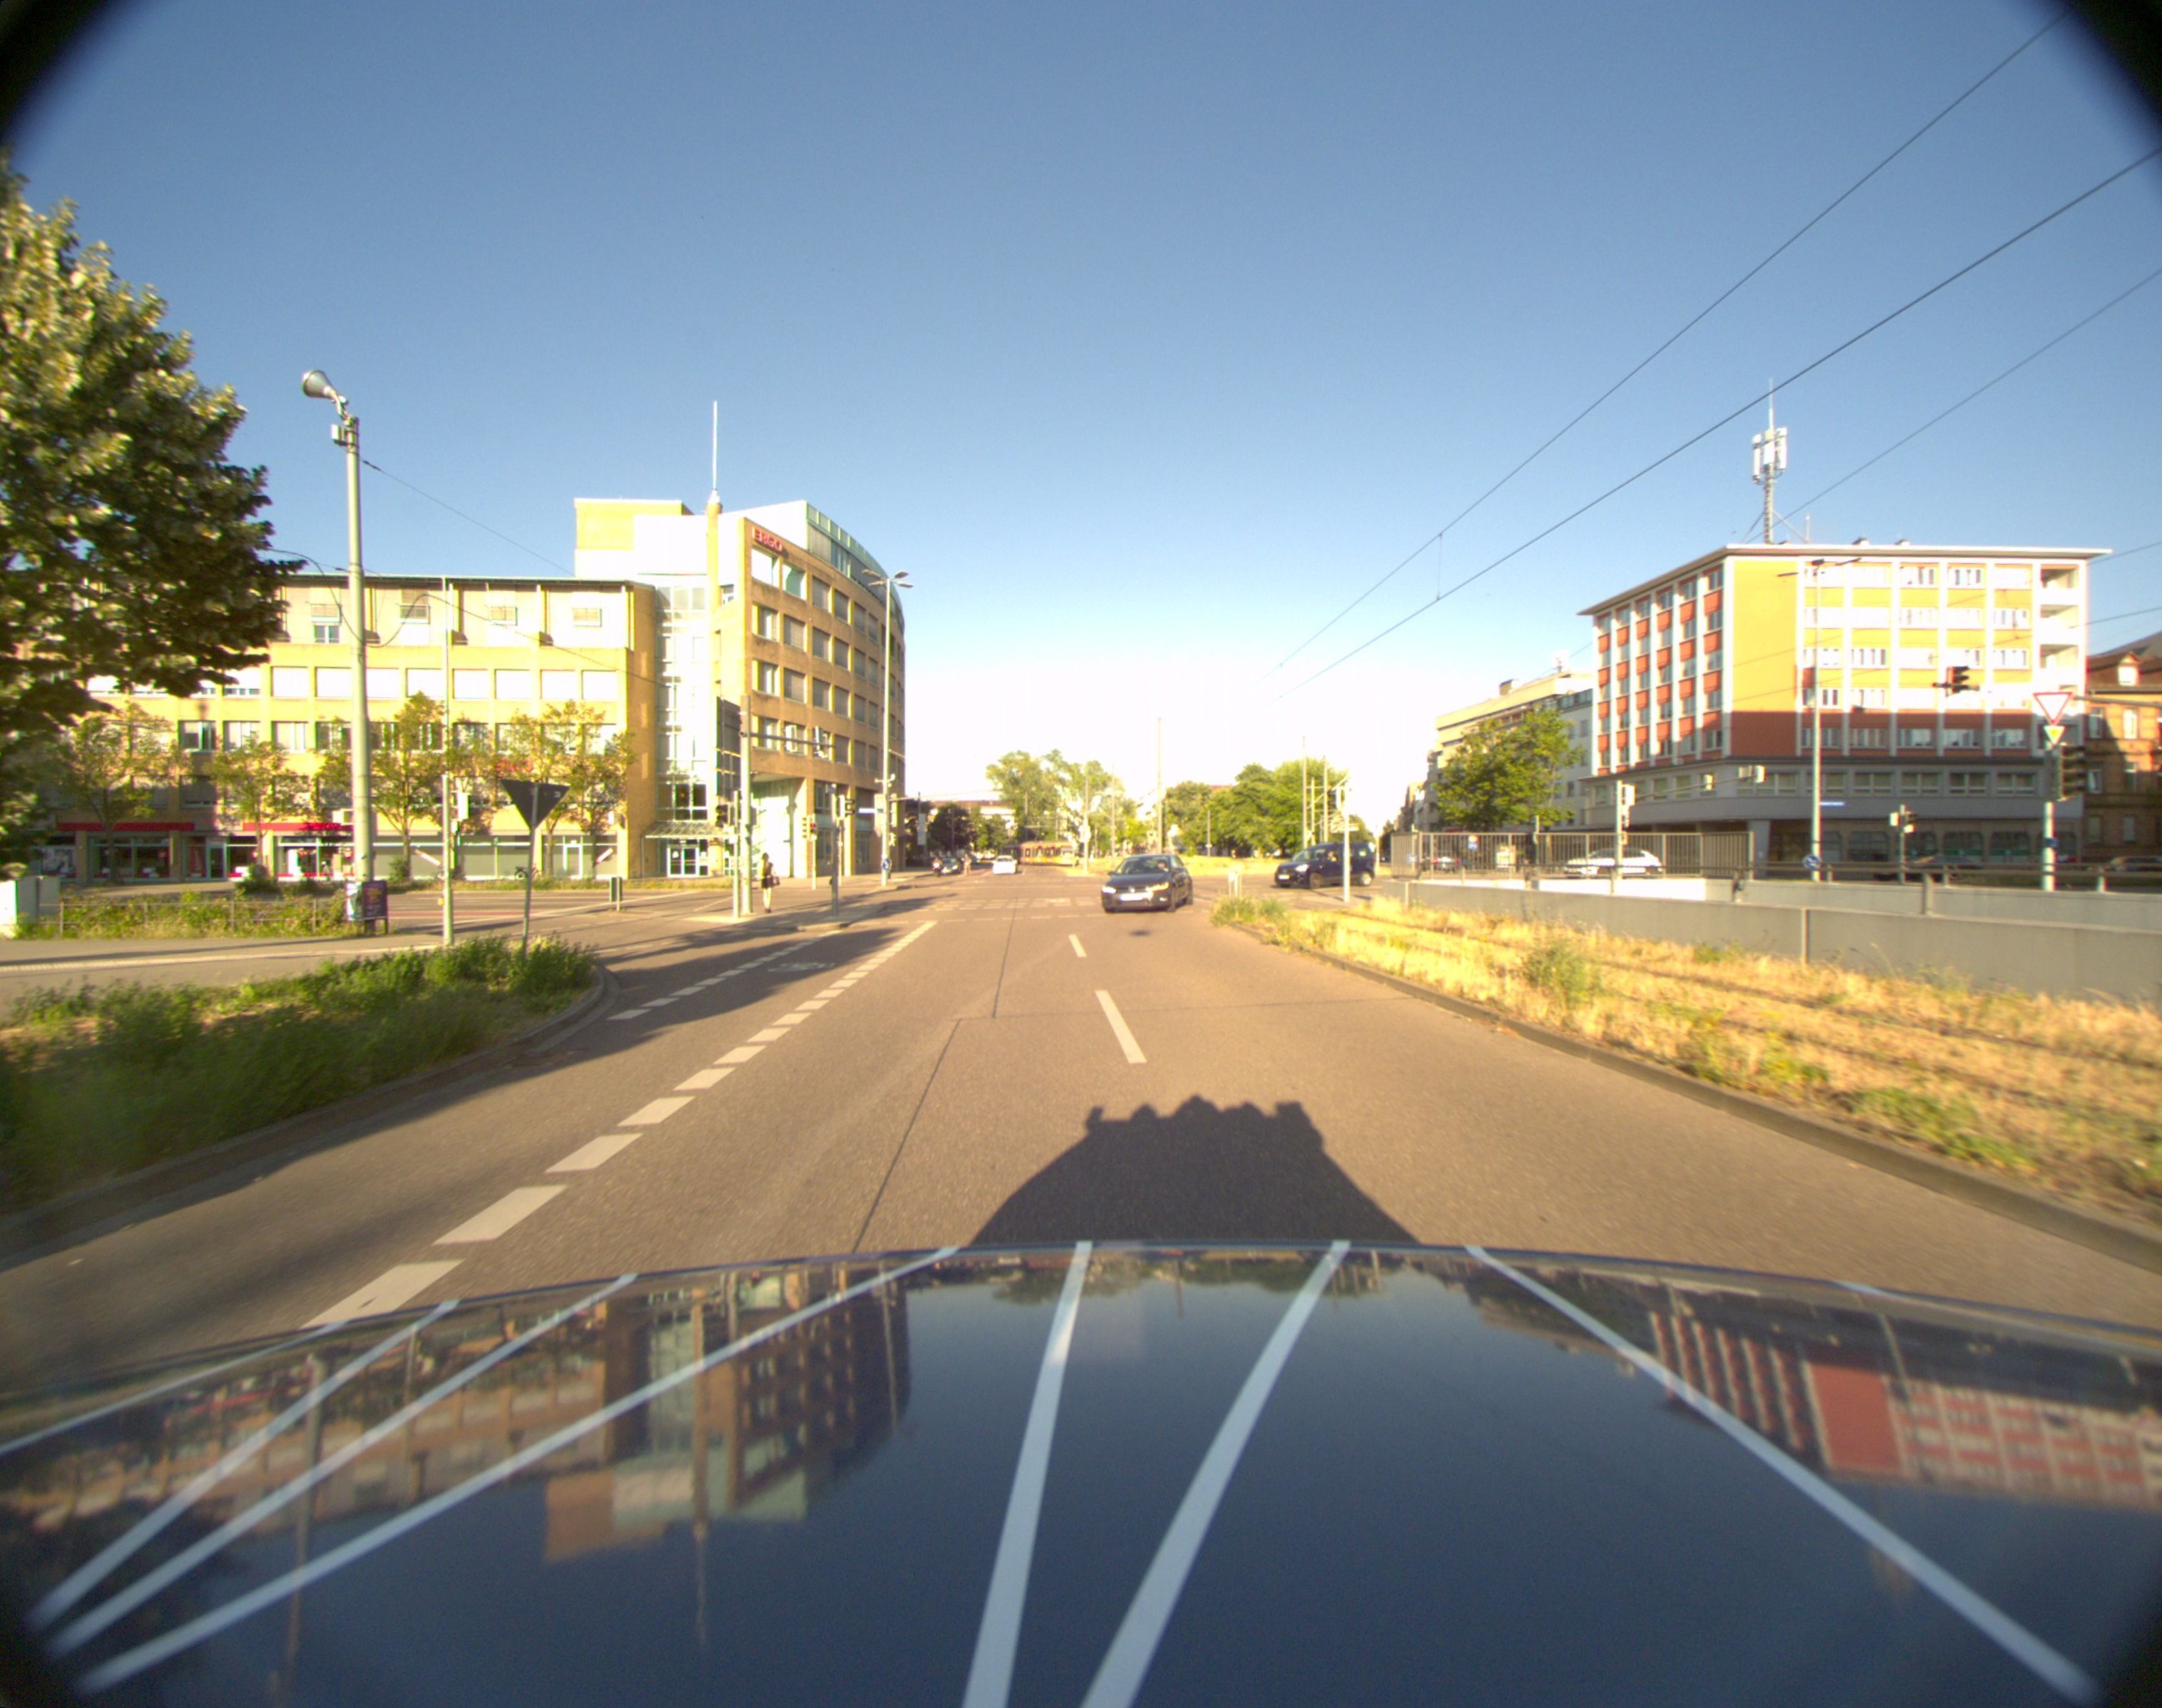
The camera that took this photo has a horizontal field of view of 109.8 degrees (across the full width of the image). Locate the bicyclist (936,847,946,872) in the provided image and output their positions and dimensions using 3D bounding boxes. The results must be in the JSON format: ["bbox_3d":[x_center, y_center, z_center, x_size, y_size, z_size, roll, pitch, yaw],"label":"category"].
[{"bbox_3d":[-10.876,0.450,59.036,0.578,1.927,0.697,-2,1,0],"label":"bicyclist"}]

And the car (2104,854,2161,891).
[{"bbox_3d":[58.008,0.963,40.805,3.998,1.770,1.741,-2,1,-3],"label":"car"}]

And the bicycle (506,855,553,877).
[{"bbox_3d":[-33.345,0.739,45.976,0.862,1.230,2.091,-1,2,39],"label":"bicycle"}]

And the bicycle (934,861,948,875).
[{"bbox_3d":[-10.851,1.054,59.128,0.700,1.044,1.979,-2,0,0],"label":"bicycle"}]

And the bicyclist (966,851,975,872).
[{"bbox_3d":[-8.648,0.571,59.366,0.552,1.600,0.832,-1,0,0],"label":"bicyclist"}]

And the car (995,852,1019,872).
[{"bbox_3d":[-6.031,0.637,62.409,1.770,1.464,4.012,-2,1,-4],"label":"car"}]

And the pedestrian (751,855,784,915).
[{"bbox_3d":[-9.127,0.893,22.120,0.651,1.714,0.715,0,1,-1],"label":"pedestrian"}]

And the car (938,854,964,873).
[{"bbox_3d":[-11.313,0.787,66.172,1.770,1.464,4.012,-2,1,-4],"label":"car"}]

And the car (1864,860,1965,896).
[{"bbox_3d":[47.428,1.350,43.269,3.998,1.770,1.741,-2,1,-3],"label":"car"}]

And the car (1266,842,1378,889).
[{"bbox_3d":[9.459,0.419,29.749,4.153,1.722,1.767,-1,0,-28],"label":"car"}]

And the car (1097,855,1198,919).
[{"bbox_3d":[1.871,0.780,19.907,1.767,1.418,4.250,0,1,17],"label":"car"}]

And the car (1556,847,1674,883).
[{"bbox_3d":[24.573,0.481,35.036,4.277,1.528,1.834,-1,1,-5],"label":"car"}]

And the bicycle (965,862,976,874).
[{"bbox_3d":[-8.636,1.076,59.402,0.609,0.923,1.776,0,0,0],"label":"bicycle"}]
